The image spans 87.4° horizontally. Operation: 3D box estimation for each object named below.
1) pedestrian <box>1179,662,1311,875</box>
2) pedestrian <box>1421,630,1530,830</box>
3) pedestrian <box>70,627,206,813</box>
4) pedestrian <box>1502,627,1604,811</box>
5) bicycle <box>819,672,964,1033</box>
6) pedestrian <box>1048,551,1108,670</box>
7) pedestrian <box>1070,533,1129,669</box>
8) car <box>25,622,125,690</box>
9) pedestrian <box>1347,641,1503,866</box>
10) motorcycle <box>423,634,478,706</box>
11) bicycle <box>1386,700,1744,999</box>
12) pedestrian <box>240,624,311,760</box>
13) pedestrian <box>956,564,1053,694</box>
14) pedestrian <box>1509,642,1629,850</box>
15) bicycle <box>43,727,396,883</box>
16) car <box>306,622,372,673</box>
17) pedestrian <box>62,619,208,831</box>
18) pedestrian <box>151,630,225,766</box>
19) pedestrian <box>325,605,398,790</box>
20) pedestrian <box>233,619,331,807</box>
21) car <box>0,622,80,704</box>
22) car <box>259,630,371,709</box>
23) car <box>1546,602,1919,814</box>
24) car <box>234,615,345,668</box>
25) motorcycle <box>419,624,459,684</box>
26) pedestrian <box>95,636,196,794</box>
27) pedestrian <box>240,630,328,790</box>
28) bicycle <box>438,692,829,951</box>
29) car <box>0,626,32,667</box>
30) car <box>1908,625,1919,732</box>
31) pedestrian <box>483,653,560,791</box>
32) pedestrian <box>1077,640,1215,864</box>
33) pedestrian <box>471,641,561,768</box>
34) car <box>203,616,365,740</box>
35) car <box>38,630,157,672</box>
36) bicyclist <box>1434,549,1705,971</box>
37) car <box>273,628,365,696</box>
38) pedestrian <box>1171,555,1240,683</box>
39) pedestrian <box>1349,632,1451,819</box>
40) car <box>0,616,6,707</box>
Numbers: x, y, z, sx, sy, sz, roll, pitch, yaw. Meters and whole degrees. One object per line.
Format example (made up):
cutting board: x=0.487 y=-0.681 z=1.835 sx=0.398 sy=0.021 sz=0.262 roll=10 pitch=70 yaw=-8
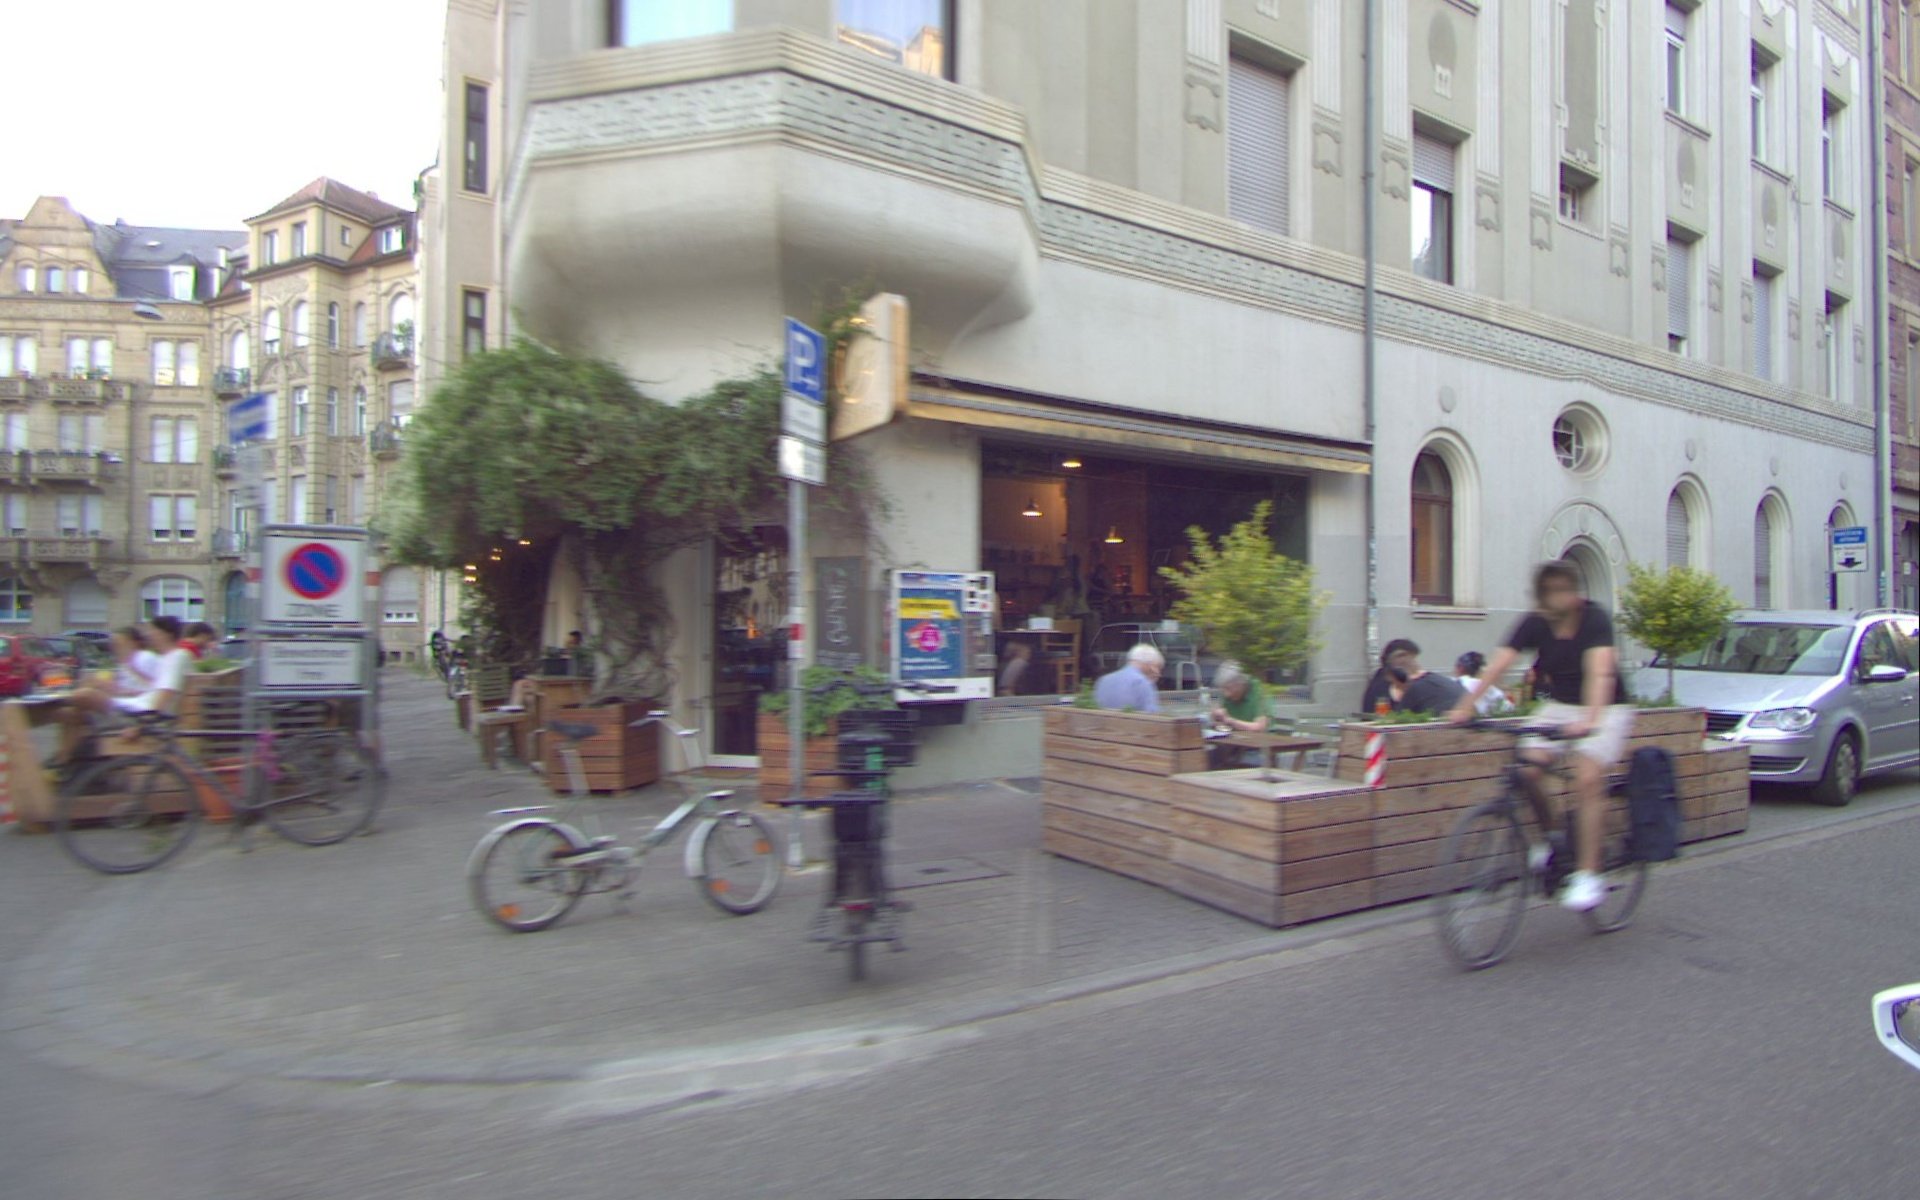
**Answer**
pedestrian: x=1.948 y=1.107 z=6.869 sx=0.696 sy=1.342 sz=0.534 roll=1 pitch=-1 yaw=-30
pedestrian: x=3.730 y=0.904 z=7.275 sx=0.604 sy=1.368 sz=0.466 roll=1 pitch=-1 yaw=-32
pedestrian: x=-6.952 y=0.977 z=8.539 sx=0.775 sy=1.488 sz=0.698 roll=1 pitch=-2 yaw=-32
pedestrian: x=4.661 y=0.902 z=7.899 sx=0.534 sy=1.368 sz=0.513 roll=1 pitch=-1 yaw=-33
bicycle: x=-0.340 y=0.948 z=4.540 sx=0.491 sy=1.109 sz=2.115 roll=-1 pitch=-1 yaw=-6
pedestrian: x=1.437 y=0.133 z=12.275 sx=0.512 sy=1.401 sz=0.536 roll=1 pitch=-1 yaw=-31
pedestrian: x=1.760 y=0.018 z=12.704 sx=0.512 sy=1.676 sz=0.536 roll=1 pitch=-1 yaw=-31
car: x=-22.321 y=1.377 z=25.436 sx=1.282 sy=1.592 sz=3.221 roll=1 pitch=-2 yaw=-31
pedestrian: x=3.010 y=0.943 z=6.515 sx=0.762 sy=1.342 sz=0.606 roll=1 pitch=-1 yaw=-32
motorcycle: x=-10.114 y=1.319 z=19.860 sx=0.808 sy=1.297 sz=3.384 roll=1 pitch=-2 yaw=-29
bicycle: x=2.835 y=1.040 z=4.644 sx=1.882 sy=1.054 sz=0.611 roll=1 pitch=-2 yaw=-31
pedestrian: x=-7.893 y=1.039 z=11.603 sx=0.637 sy=1.520 sz=0.569 roll=1 pitch=-2 yaw=-32
pedestrian: x=0.421 y=0.271 z=9.516 sx=0.739 sy=1.169 sz=0.554 roll=1 pitch=-1 yaw=-32
pedestrian: x=4.277 y=0.984 z=7.052 sx=0.661 sy=1.368 sz=0.481 roll=1 pitch=-1 yaw=-32
bicycle: x=-4.652 y=1.265 z=6.451 sx=1.760 sy=0.705 sz=0.421 roll=-1 pitch=0 yaw=-34
car: x=-20.923 y=1.587 z=33.952 sx=1.720 sy=1.567 sz=3.763 roll=3 pitch=-3 yaw=-30
pedestrian: x=-6.473 y=0.937 z=7.929 sx=0.775 sy=1.560 sz=0.698 roll=1 pitch=-2 yaw=-32
pedestrian: x=-8.673 y=1.076 z=11.302 sx=0.567 sy=1.466 sz=0.639 roll=1 pitch=-2 yaw=-31
pedestrian: x=-5.524 y=0.874 z=9.282 sx=0.540 sy=1.642 sz=0.538 roll=1 pitch=-2 yaw=-31
pedestrian: x=-5.653 y=0.910 z=8.404 sx=0.637 sy=1.488 sz=0.568 roll=1 pitch=-2 yaw=-32
car: x=-20.019 y=1.273 z=21.061 sx=1.615 sy=1.592 sz=4.005 roll=1 pitch=-2 yaw=-31
car: x=-13.131 y=1.341 z=20.650 sx=1.720 sy=1.448 sz=4.118 roll=1 pitch=-2 yaw=-30
car: x=7.785 y=0.883 z=9.629 sx=4.265 sy=1.612 sz=1.983 roll=1 pitch=-2 yaw=-32
car: x=-25.702 y=1.581 z=38.446 sx=5.084 sy=1.884 sz=1.803 roll=0 pitch=-3 yaw=36
motorcycle: x=-14.088 y=1.413 z=27.111 sx=0.808 sy=1.514 sz=3.384 roll=1 pitch=-2 yaw=-29
pedestrian: x=-7.703 y=1.054 z=9.523 sx=0.637 sy=1.430 sz=0.569 roll=1 pitch=-2 yaw=-30
pedestrian: x=-6.450 y=1.022 z=9.617 sx=0.637 sy=1.462 sz=0.569 roll=1 pitch=-2 yaw=-30
bicycle: x=-1.504 y=0.999 z=4.793 sx=1.691 sy=1.026 sz=0.423 roll=-1 pitch=0 yaw=-17
car: x=-42.945 y=1.995 z=43.397 sx=3.923 sy=1.762 sz=1.787 roll=0 pitch=-2 yaw=-4
car: x=15.747 y=1.136 z=14.501 sx=4.482 sy=1.491 sz=1.902 roll=1 pitch=-1 yaw=-31
pedestrian: x=-4.155 y=1.128 z=9.510 sx=0.599 sy=1.230 sz=0.528 roll=1 pitch=-2 yaw=-30
pedestrian: x=1.202 y=0.938 z=6.511 sx=0.696 sy=1.342 sz=0.534 roll=1 pitch=-1 yaw=-30
pedestrian: x=-4.541 y=1.035 z=10.263 sx=0.770 sy=1.230 sz=0.687 roll=1 pitch=-2 yaw=-30
car: x=-10.330 y=1.150 z=15.619 sx=1.720 sy=1.639 sz=4.118 roll=4 pitch=-4 yaw=-30
car: x=-37.630 y=2.193 z=43.884 sx=3.919 sy=1.762 sz=1.789 roll=0 pitch=-2 yaw=9
bicyclist: x=2.810 y=0.664 z=4.630 sx=1.129 sy=1.707 sz=0.600 roll=1 pitch=-2 yaw=-31
car: x=-16.206 y=1.544 z=25.570 sx=1.720 sy=1.567 sz=4.118 roll=3 pitch=-3 yaw=-30
pedestrian: x=2.720 y=0.210 z=11.128 sx=0.512 sy=1.368 sz=0.536 roll=1 pitch=-1 yaw=-30
pedestrian: x=3.387 y=0.933 z=7.738 sx=0.604 sy=1.368 sz=0.466 roll=1 pitch=-1 yaw=-32
car: x=-17.431 y=1.073 z=16.443 sx=1.701 sy=1.674 sz=4.179 roll=1 pitch=-2 yaw=-31
